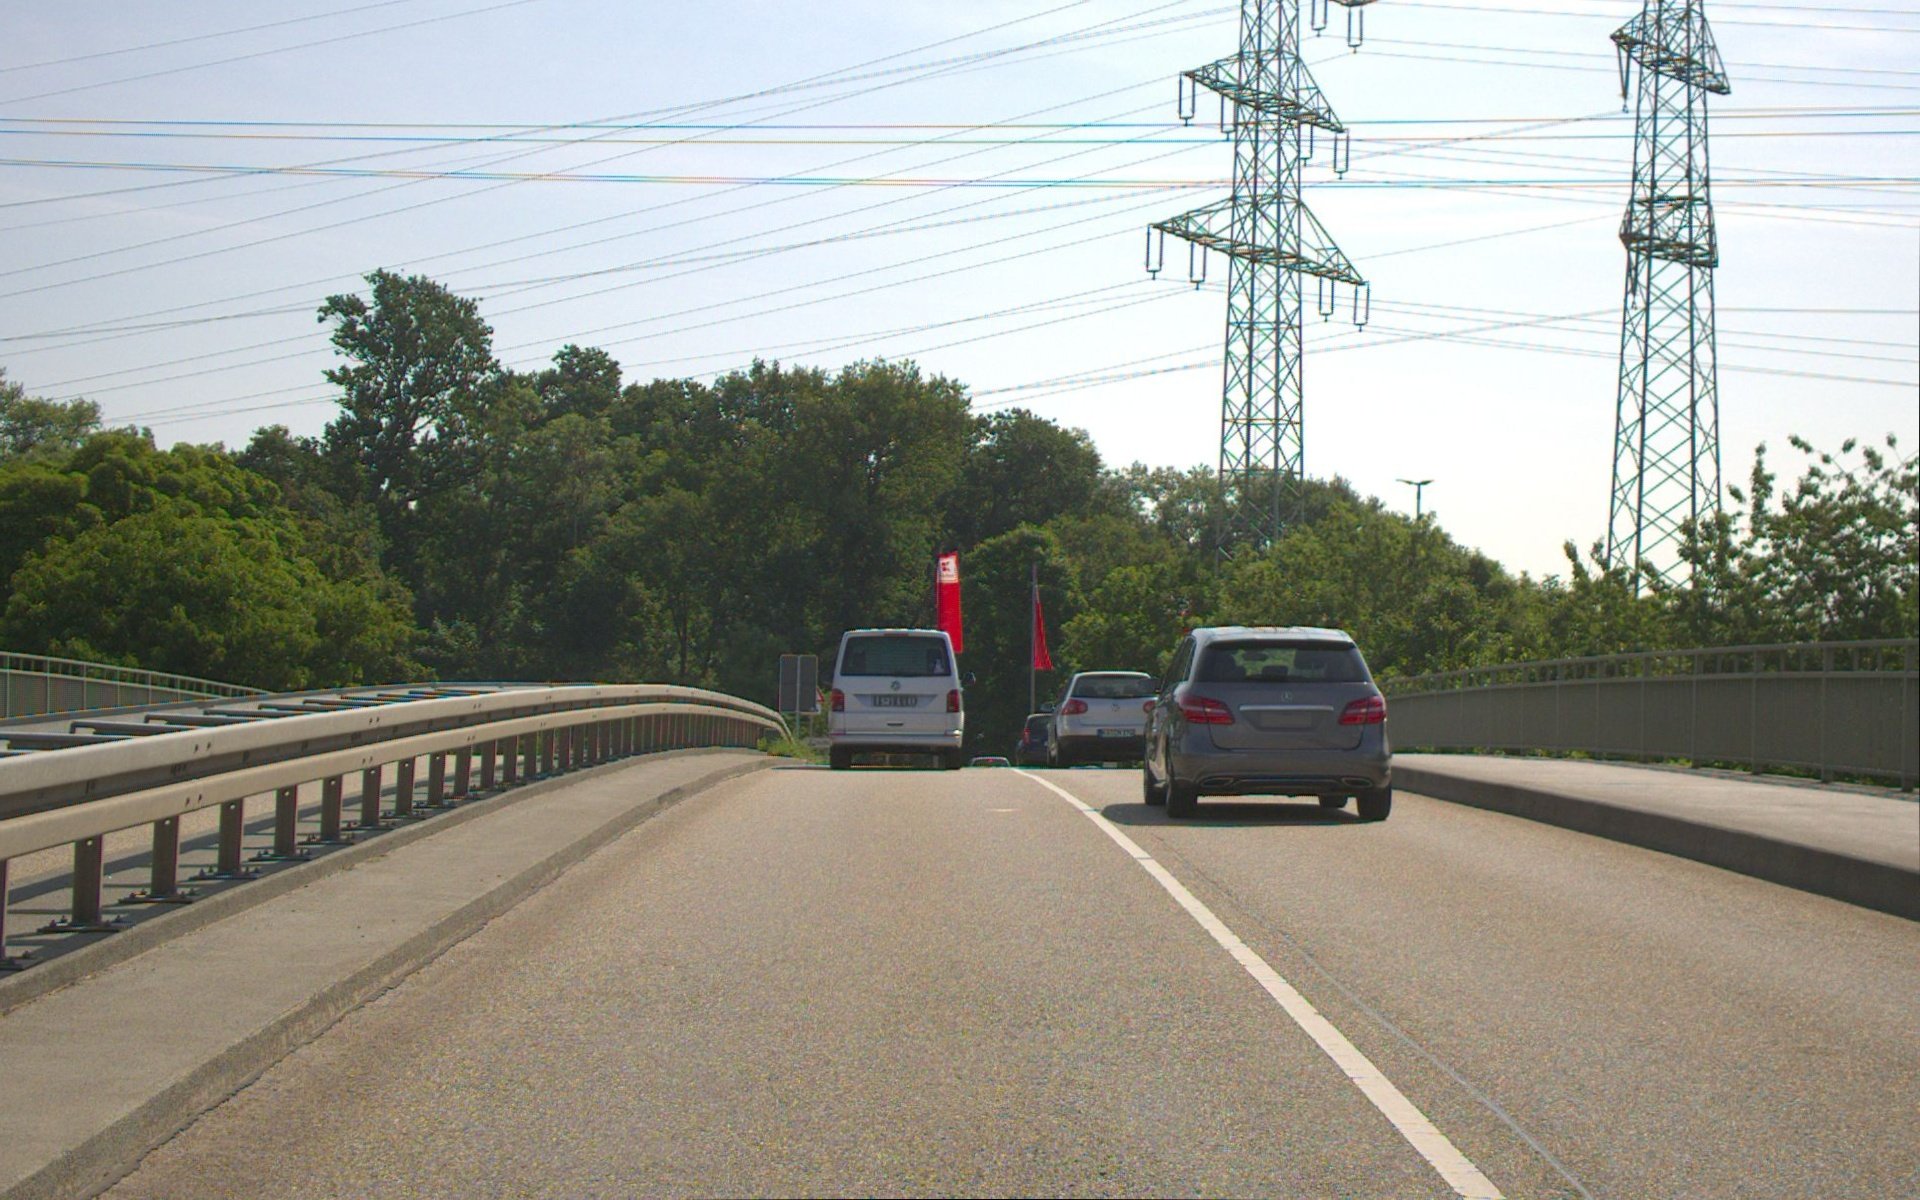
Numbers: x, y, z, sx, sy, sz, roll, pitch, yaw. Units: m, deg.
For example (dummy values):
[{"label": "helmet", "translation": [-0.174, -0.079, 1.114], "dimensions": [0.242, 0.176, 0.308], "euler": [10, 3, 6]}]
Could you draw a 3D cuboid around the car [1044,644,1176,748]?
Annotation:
[{"label": "car", "translation": [2.253, 1.495, 52.638], "dimensions": [1.856, 1.524, 4.143], "euler": [0, -2, 0]}]

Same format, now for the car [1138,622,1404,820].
[{"label": "car", "translation": [2.506, 0.972, 28.608], "dimensions": [1.856, 1.524, 4.143], "euler": [0, -1, 0]}]

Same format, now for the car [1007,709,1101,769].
[{"label": "car", "translation": [2.272, 3.341, 82.312], "dimensions": [1.774, 1.327, 3.738], "euler": [-1, -4, 9]}]

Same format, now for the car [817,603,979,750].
[{"label": "car", "translation": [-0.833, 1.065, 49.089], "dimensions": [2.039, 2.007, 3.999], "euler": [0, 0, 3]}]
